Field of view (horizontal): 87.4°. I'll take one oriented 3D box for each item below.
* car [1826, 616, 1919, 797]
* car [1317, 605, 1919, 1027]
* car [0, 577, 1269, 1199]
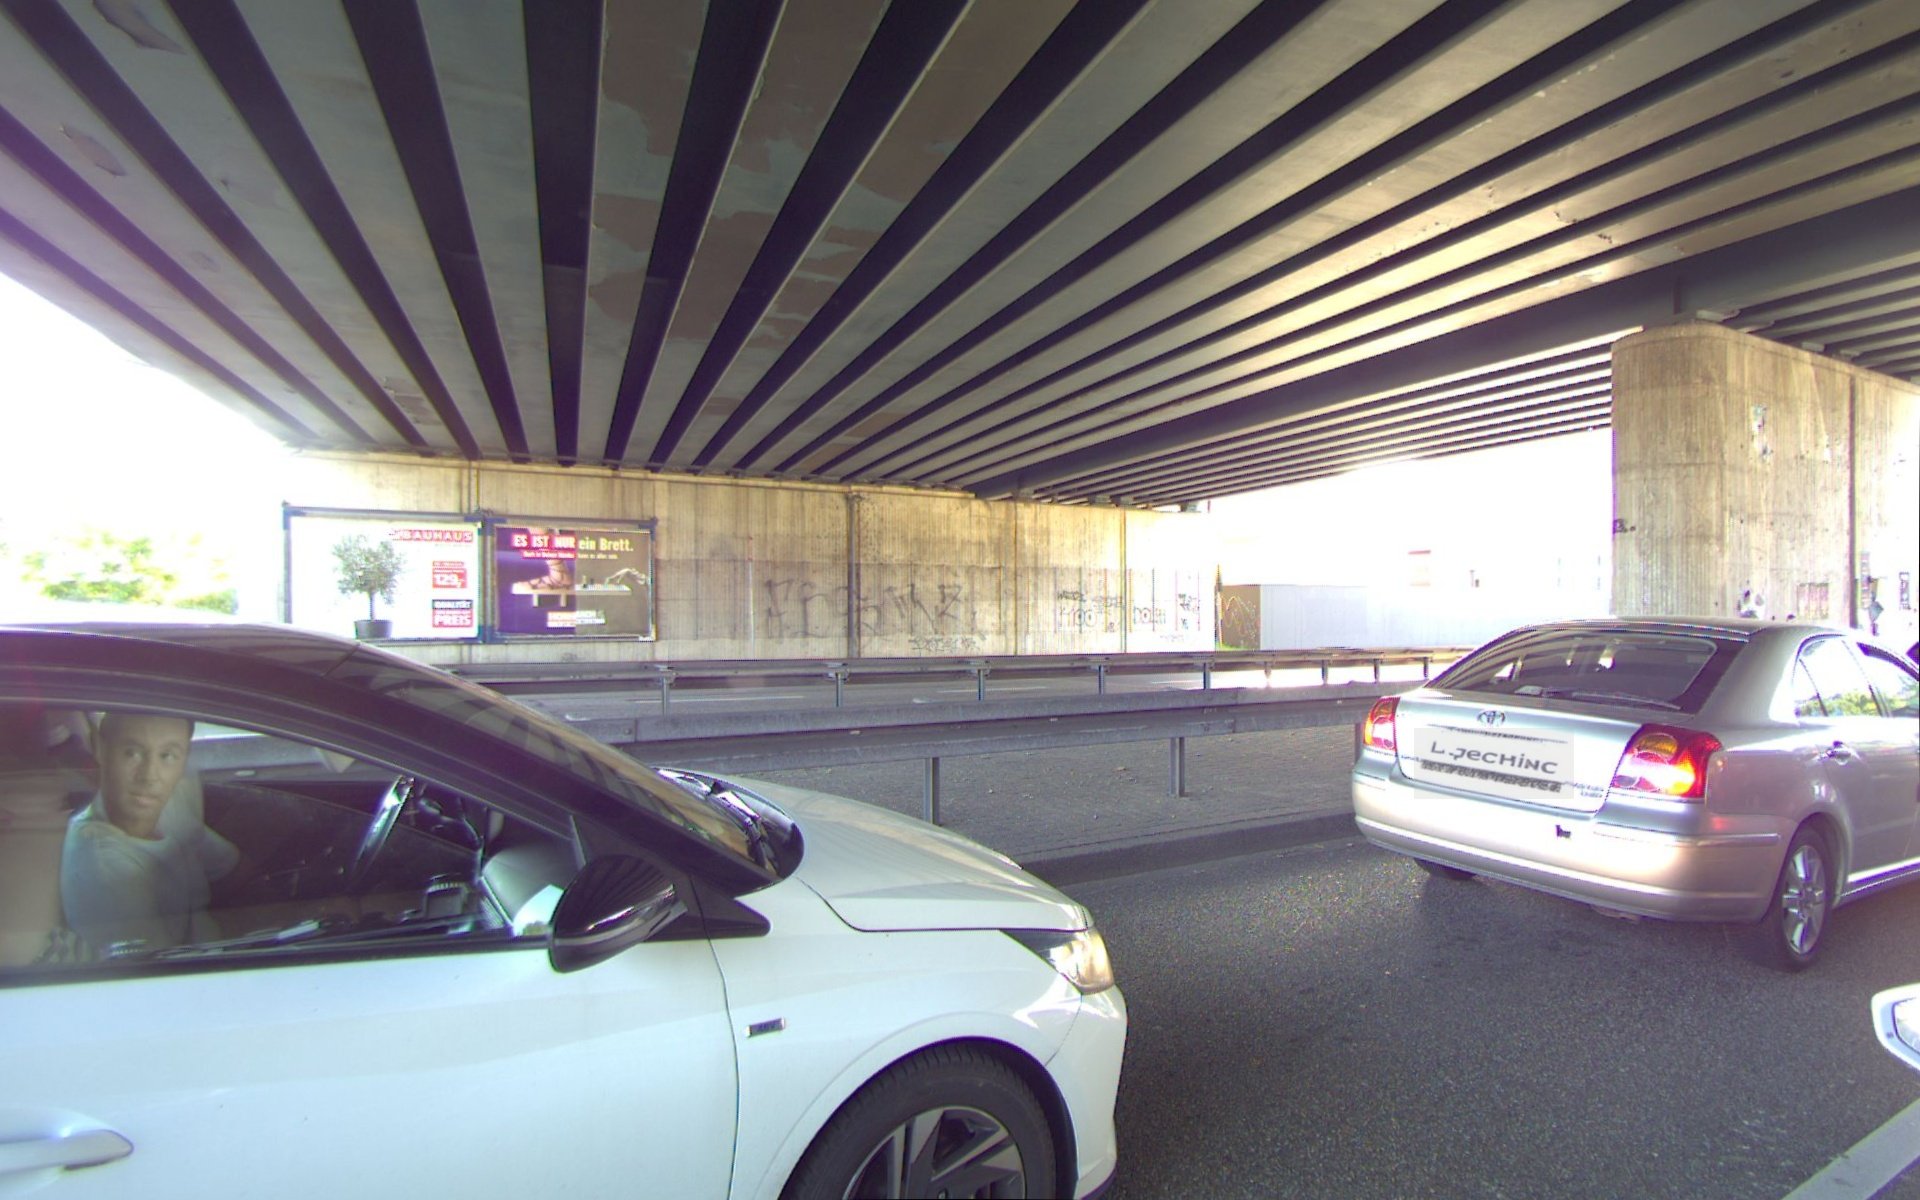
[{"bbox_3d":[9.539,0.886,8.862,3.687,1.457,1.804,0,0,-31],"label":"car"},{"bbox_3d":[4.059,0.814,5.442,4.270,1.499,1.724,1,-1,-32],"label":"car"},{"bbox_3d":[-1.426,0.729,1.965,3.946,1.499,1.724,1,-1,-32],"label":"car"}]
